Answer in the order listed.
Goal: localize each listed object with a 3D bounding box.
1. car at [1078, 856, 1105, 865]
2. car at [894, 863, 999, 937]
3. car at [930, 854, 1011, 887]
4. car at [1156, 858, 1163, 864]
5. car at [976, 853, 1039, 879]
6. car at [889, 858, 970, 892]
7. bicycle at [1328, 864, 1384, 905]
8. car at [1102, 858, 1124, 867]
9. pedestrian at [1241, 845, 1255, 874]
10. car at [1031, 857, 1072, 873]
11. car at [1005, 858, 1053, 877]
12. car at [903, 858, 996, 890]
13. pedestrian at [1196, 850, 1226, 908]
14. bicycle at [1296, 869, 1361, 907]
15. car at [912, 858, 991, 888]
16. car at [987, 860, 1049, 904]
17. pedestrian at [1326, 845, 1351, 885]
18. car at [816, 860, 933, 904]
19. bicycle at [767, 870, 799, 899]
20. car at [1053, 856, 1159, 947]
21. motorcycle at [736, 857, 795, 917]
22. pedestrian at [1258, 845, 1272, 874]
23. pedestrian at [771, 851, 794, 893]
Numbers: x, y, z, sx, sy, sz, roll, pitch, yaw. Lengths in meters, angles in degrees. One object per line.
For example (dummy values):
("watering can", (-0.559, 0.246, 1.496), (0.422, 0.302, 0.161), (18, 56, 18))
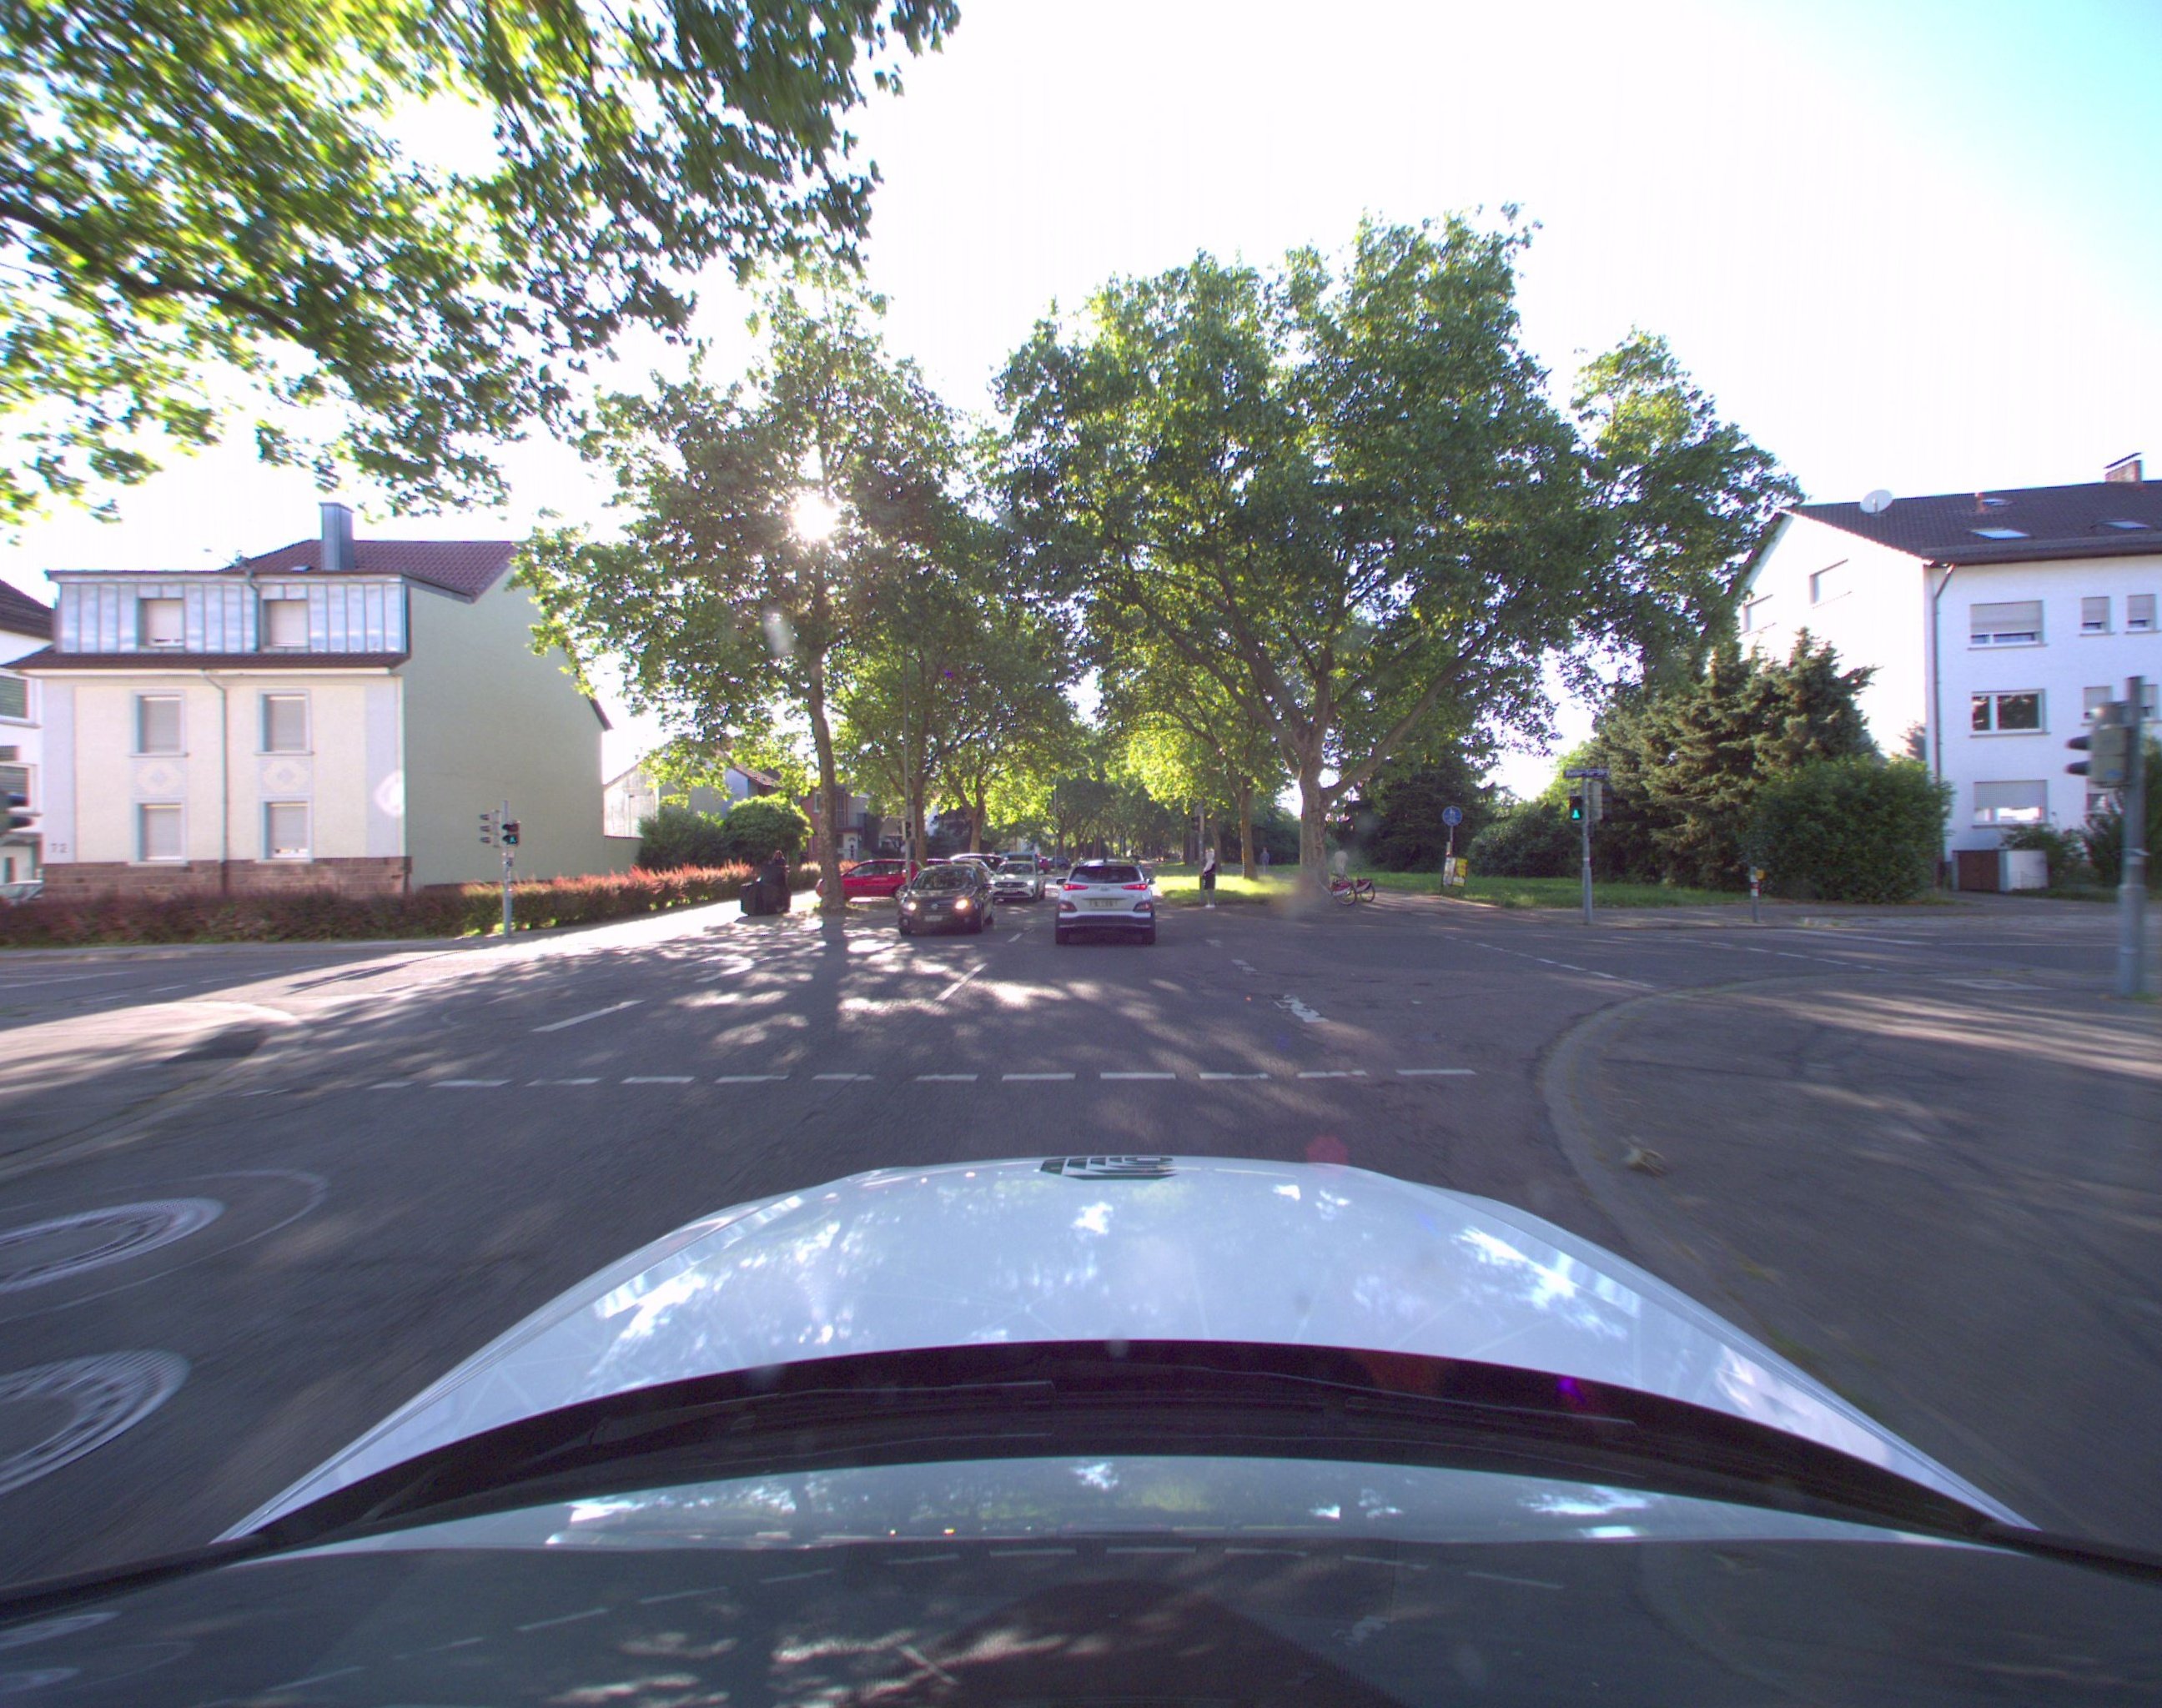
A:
("car", (1.521, 0.986, 121.245), (3.806, 1.316, 1.793), (1, 0, 6))
("car", (-2.922, 0.947, 18.486), (1.721, 1.464, 4.066), (-1, -1, -1))
("car", (-5.957, 0.893, 44.285), (4.075, 1.716, 1.833), (0, 0, 2))
("car", (19.198, 1.608, 198.352), (1.681, 1.465, 3.700), (0, -1, 5))
("car", (-5.311, 0.854, 59.192), (4.369, 1.824, 1.996), (0, 0, 1))
("car", (-6.853, 0.942, 37.076), (3.327, 1.480, 1.696), (0, 0, 1))
("bicycle", (8.086, 0.864, 24.002), (0.446, 1.083, 1.996), (-3, 1, -17))
("car", (6.173, 1.667, 158.447), (4.164, 1.584, 2.002), (0, -1, 4))
("pedestrian", (10.688, 0.354, 52.155), (0.757, 1.846, 0.789), (-1, 0, 6))
("car", (-2.993, 1.118, 83.033), (3.973, 1.518, 1.818), (0, 0, 1))
("car", (-4.405, 1.109, 69.207), (3.857, 1.518, 1.665), (-1, 0, 1))
("car", (-6.286, 0.933, 39.341), (4.147, 1.501, 1.876), (0, 0, 0))
("pedestrian", (3.946, 0.745, 24.742), (0.633, 1.719, 0.824), (-3, 0, -5))
("bicycle", (7.004, 0.950, 23.090), (1.698, 1.035, 0.449), (-1, 2, 38))
("car", (-6.693, 0.954, 42.216), (3.743, 1.483, 1.755), (0, 0, 2))
("car", (-2.256, 0.975, 30.169), (1.709, 1.501, 4.097), (0, 0, 3))
("pedestrian", (11.125, 0.471, 35.168), (0.776, 1.649, 0.939), (-2, 0, 2))
("car", (-7.408, 0.976, 29.517), (3.752, 1.535, 1.831), (0, 0, 0))
("bicycle", (-11.221, 1.140, 30.722), (0.508, 1.042, 2.150), (-1, -1, -3))
("car", (0.457, 0.846, 16.116), (1.829, 1.556, 4.000), (-1, -1, 1))
("motorcycle", (-9.570, 0.963, 24.825), (0.978, 1.638, 2.386), (-1, 2, -5))
("pedestrian", (11.761, 0.358, 51.958), (0.751, 1.847, 0.804), (-1, 0, 6))
("pedestrian", (-11.226, 0.668, 30.623), (0.508, 1.532, 1.032), (-1, -1, -4))
